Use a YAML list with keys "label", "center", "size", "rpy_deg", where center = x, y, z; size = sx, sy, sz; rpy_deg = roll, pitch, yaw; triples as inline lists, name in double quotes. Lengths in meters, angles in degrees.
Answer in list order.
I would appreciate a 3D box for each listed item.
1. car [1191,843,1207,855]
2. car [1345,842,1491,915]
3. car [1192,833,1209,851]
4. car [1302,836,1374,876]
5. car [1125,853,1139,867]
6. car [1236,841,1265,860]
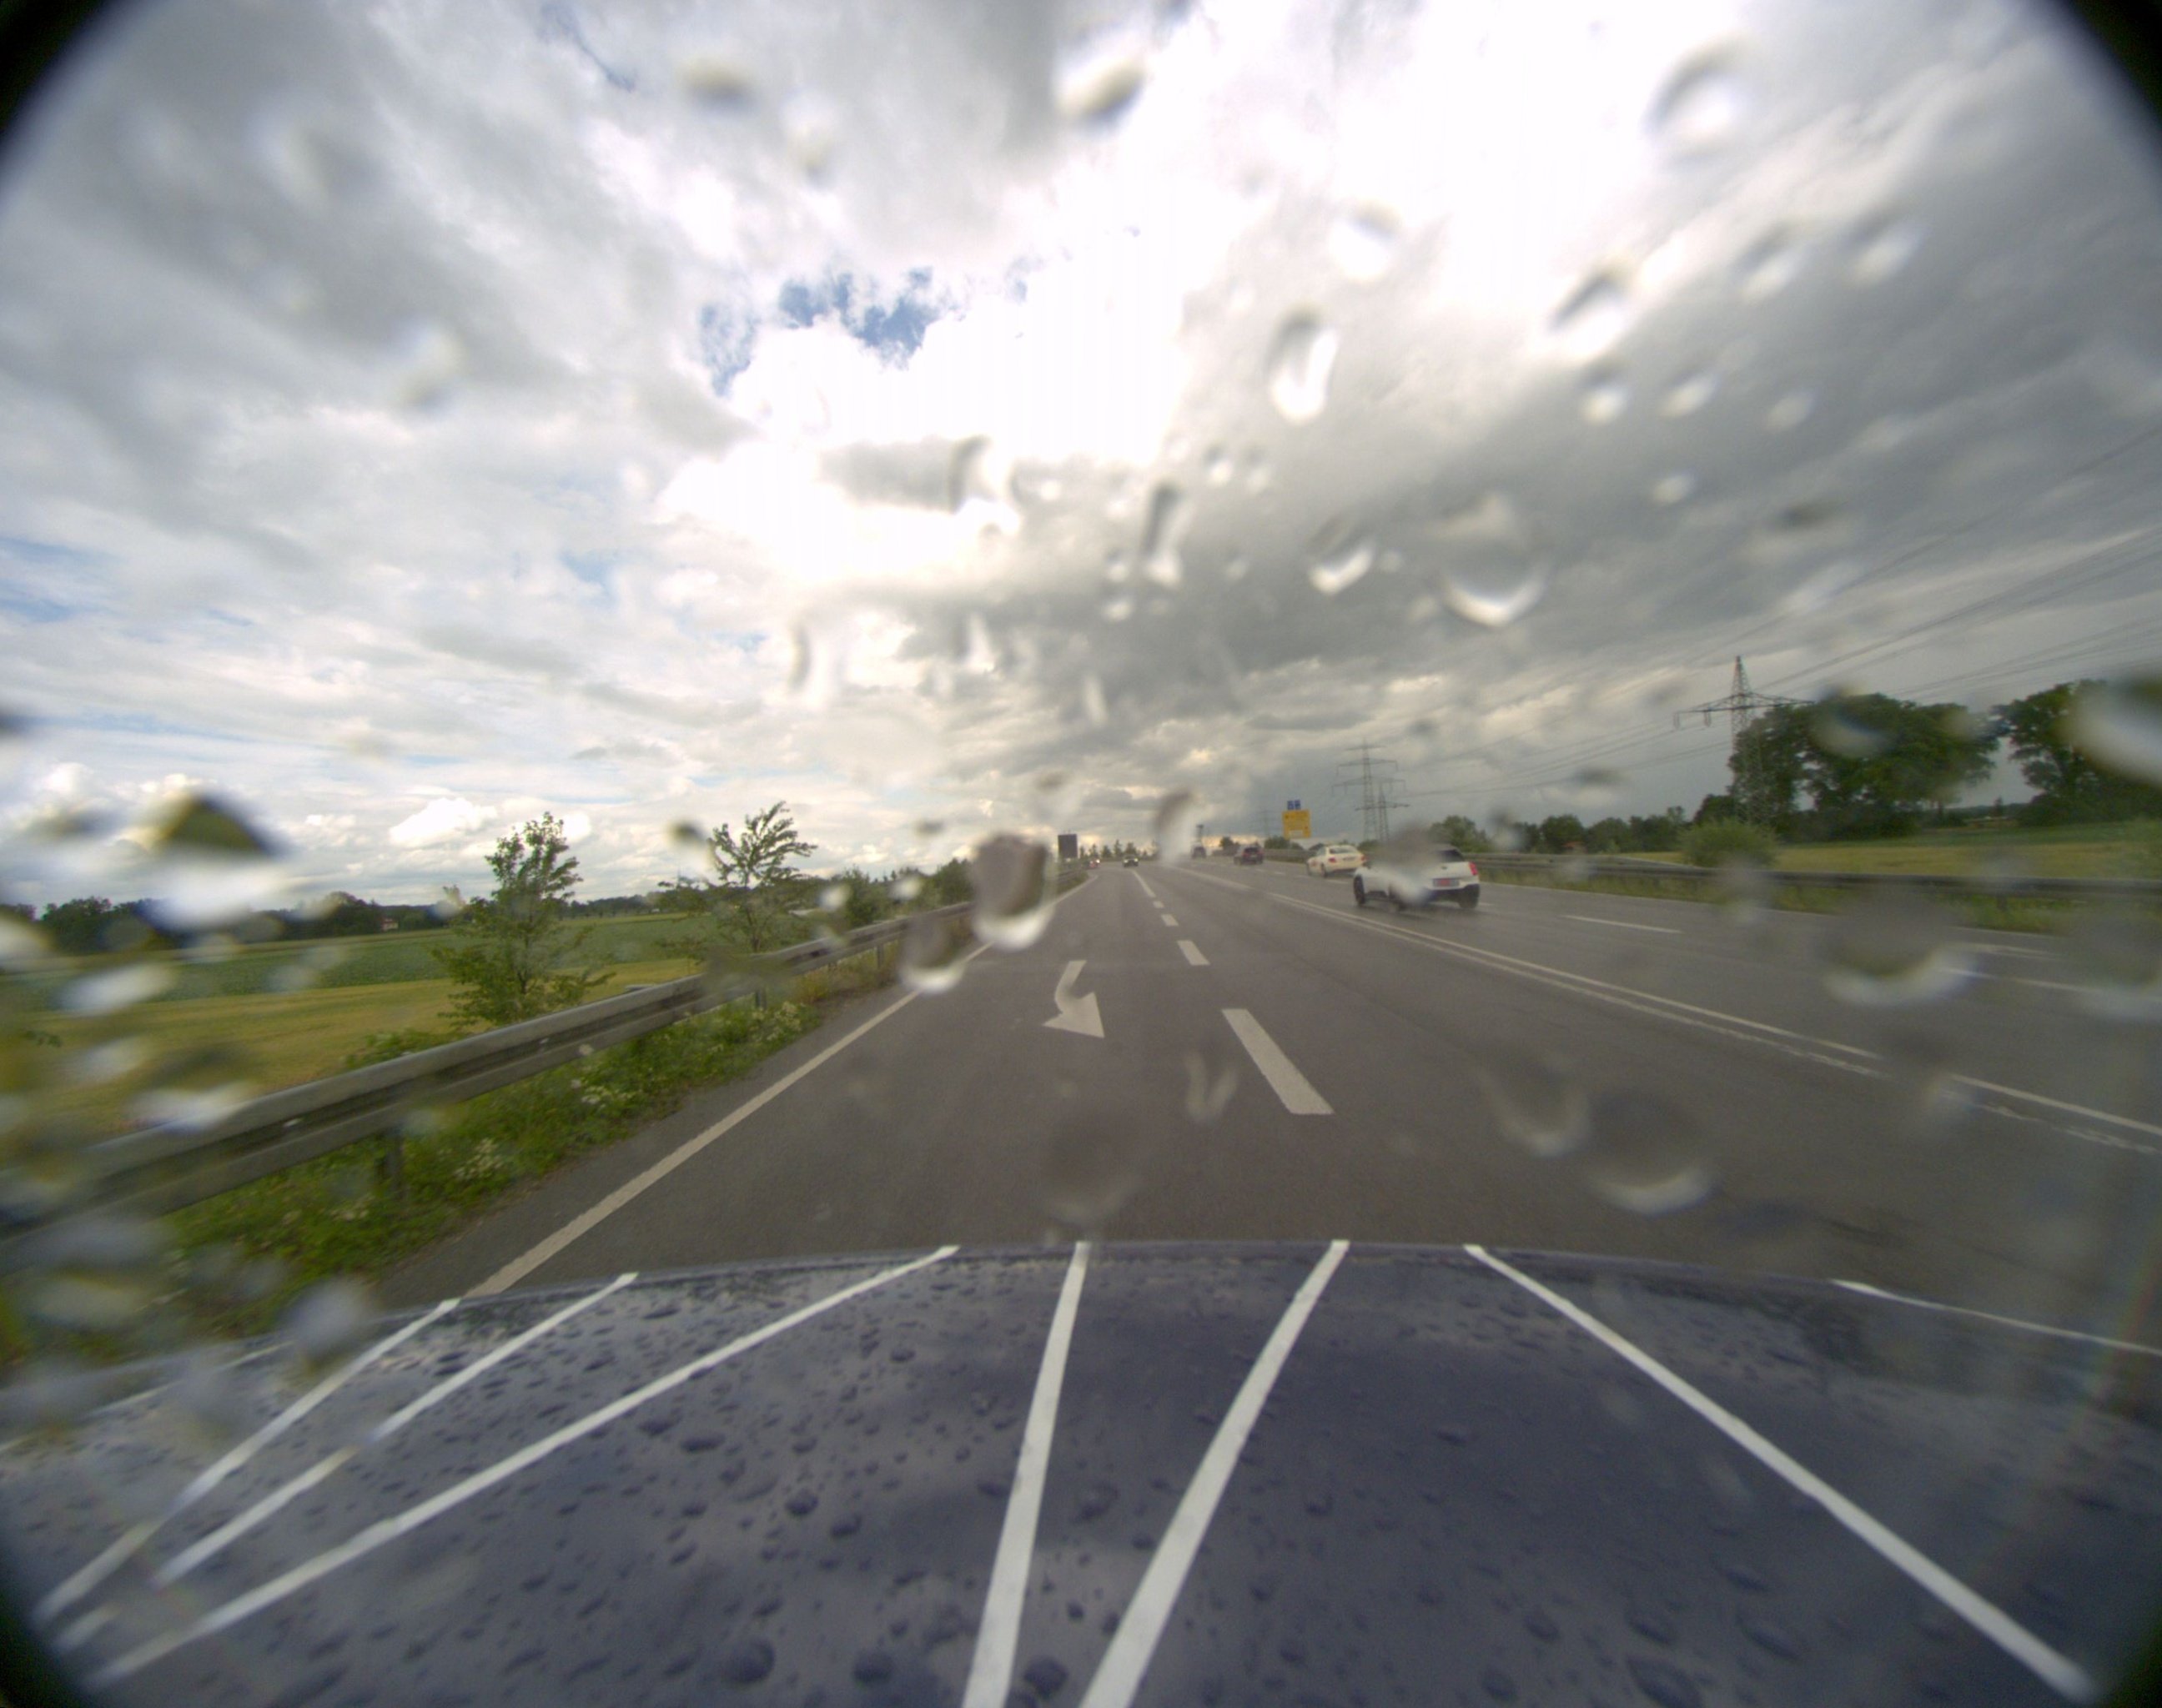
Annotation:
- label: "car"
  center: [15.968, -0.674, 103.206]
  size: [1.711, 1.600, 4.638]
  rpy_deg: [-3, 0, 5]
- label: "car"
  center: [7.914, 0.503, 18.310]
  size: [1.771, 1.491, 4.210]
  rpy_deg: [-3, 0, 3]
- label: "car"
  center: [19.468, -1.966, 124.130]
  size: [1.974, 2.639, 5.460]
  rpy_deg: [-5, 0, 3]
- label: "car"
  center: [12.123, 0.074, 36.167]
  size: [1.948, 1.650, 4.646]
  rpy_deg: [-4, 0, 3]
- label: "car"
  center: [6.984, 0.793, 104.413]
  size: [1.795, 1.758, 4.002]
  rpy_deg: [-3, -2, 5]
- label: "car"
  center: [14.050, -0.289, 63.270]
  size: [1.774, 1.418, 4.736]
  rpy_deg: [-3, 0, 6]
